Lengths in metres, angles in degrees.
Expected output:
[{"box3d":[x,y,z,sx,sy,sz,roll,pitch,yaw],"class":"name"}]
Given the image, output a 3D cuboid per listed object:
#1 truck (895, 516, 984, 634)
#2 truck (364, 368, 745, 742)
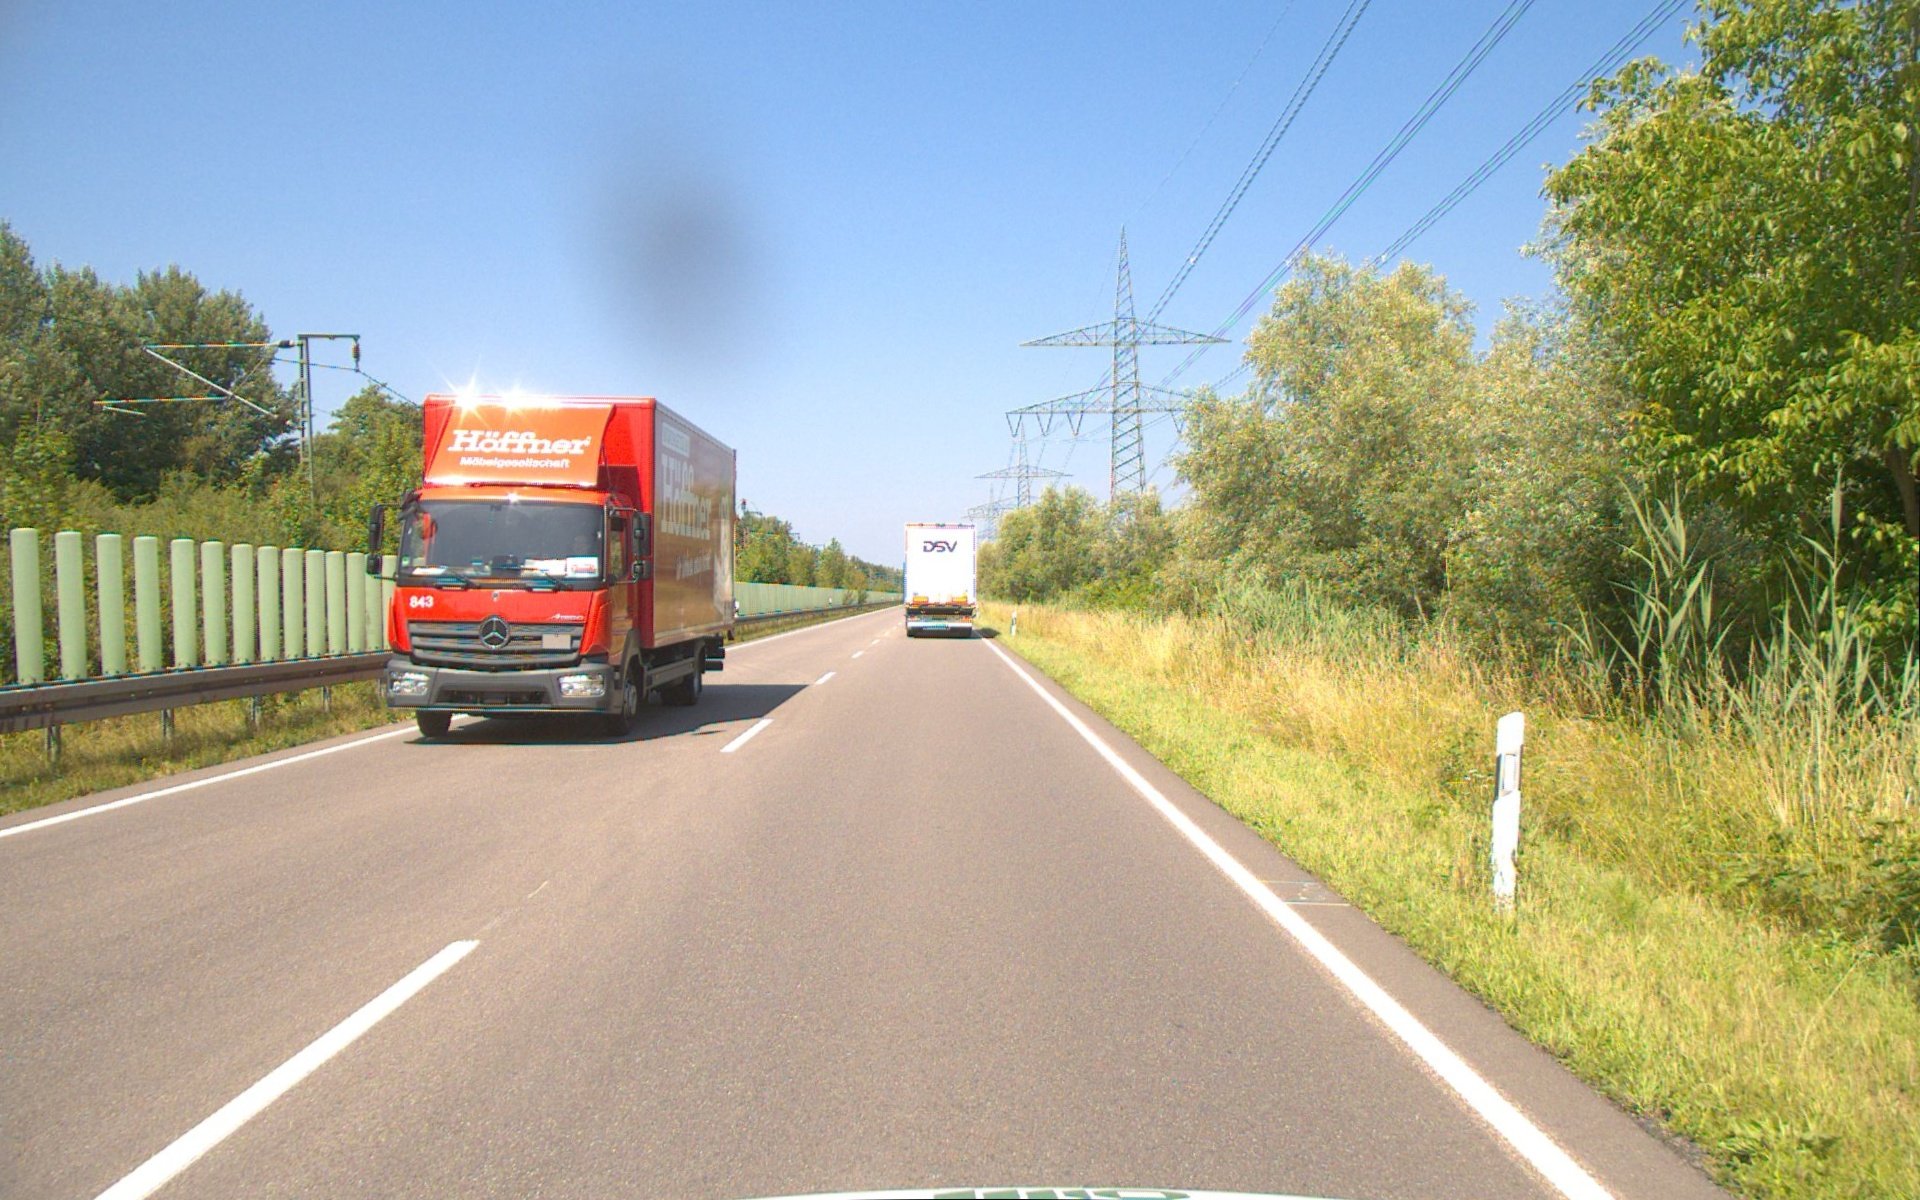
[{"box3d":[-0.842,-0.891,63.760,3.127,4.113,12.003,0,0,-1],"class":"truck"},{"box3d":[-4.586,-0.462,20.982,2.678,3.662,9.524,0,0,-1],"class":"truck"}]
